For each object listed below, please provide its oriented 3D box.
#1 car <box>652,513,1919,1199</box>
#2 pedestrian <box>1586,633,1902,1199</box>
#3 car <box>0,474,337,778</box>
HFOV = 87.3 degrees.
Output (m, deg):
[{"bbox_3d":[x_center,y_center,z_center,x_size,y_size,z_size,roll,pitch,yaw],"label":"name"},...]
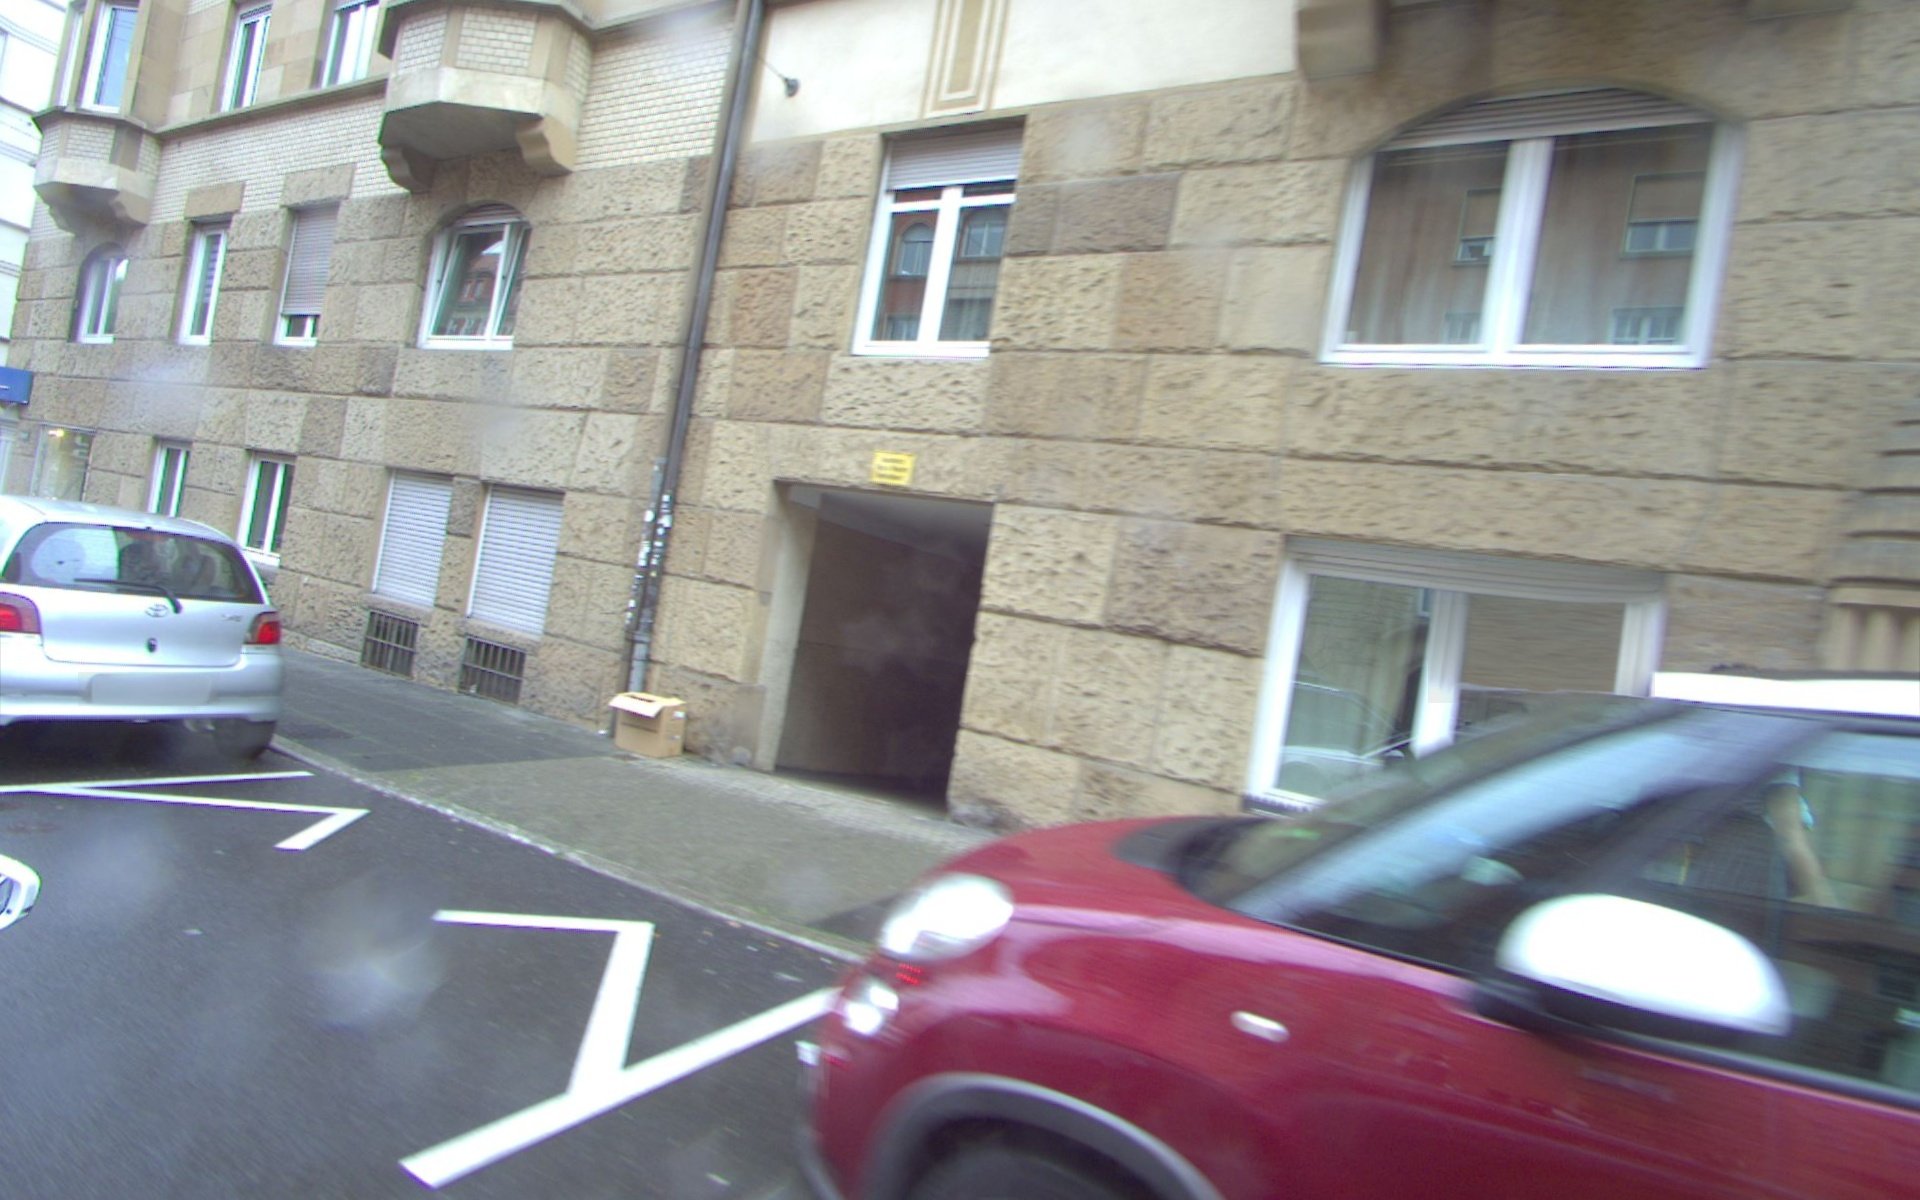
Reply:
[{"bbox_3d":[1.564,0.951,1.823,3.931,1.646,1.716,7,-3,29],"label":"car"},{"bbox_3d":[2.673,1.057,3.532,0.599,1.752,0.864,7,-2,31],"label":"pedestrian"},{"bbox_3d":[-5.970,0.056,6.705,3.409,1.560,1.641,7,-2,33],"label":"car"}]
